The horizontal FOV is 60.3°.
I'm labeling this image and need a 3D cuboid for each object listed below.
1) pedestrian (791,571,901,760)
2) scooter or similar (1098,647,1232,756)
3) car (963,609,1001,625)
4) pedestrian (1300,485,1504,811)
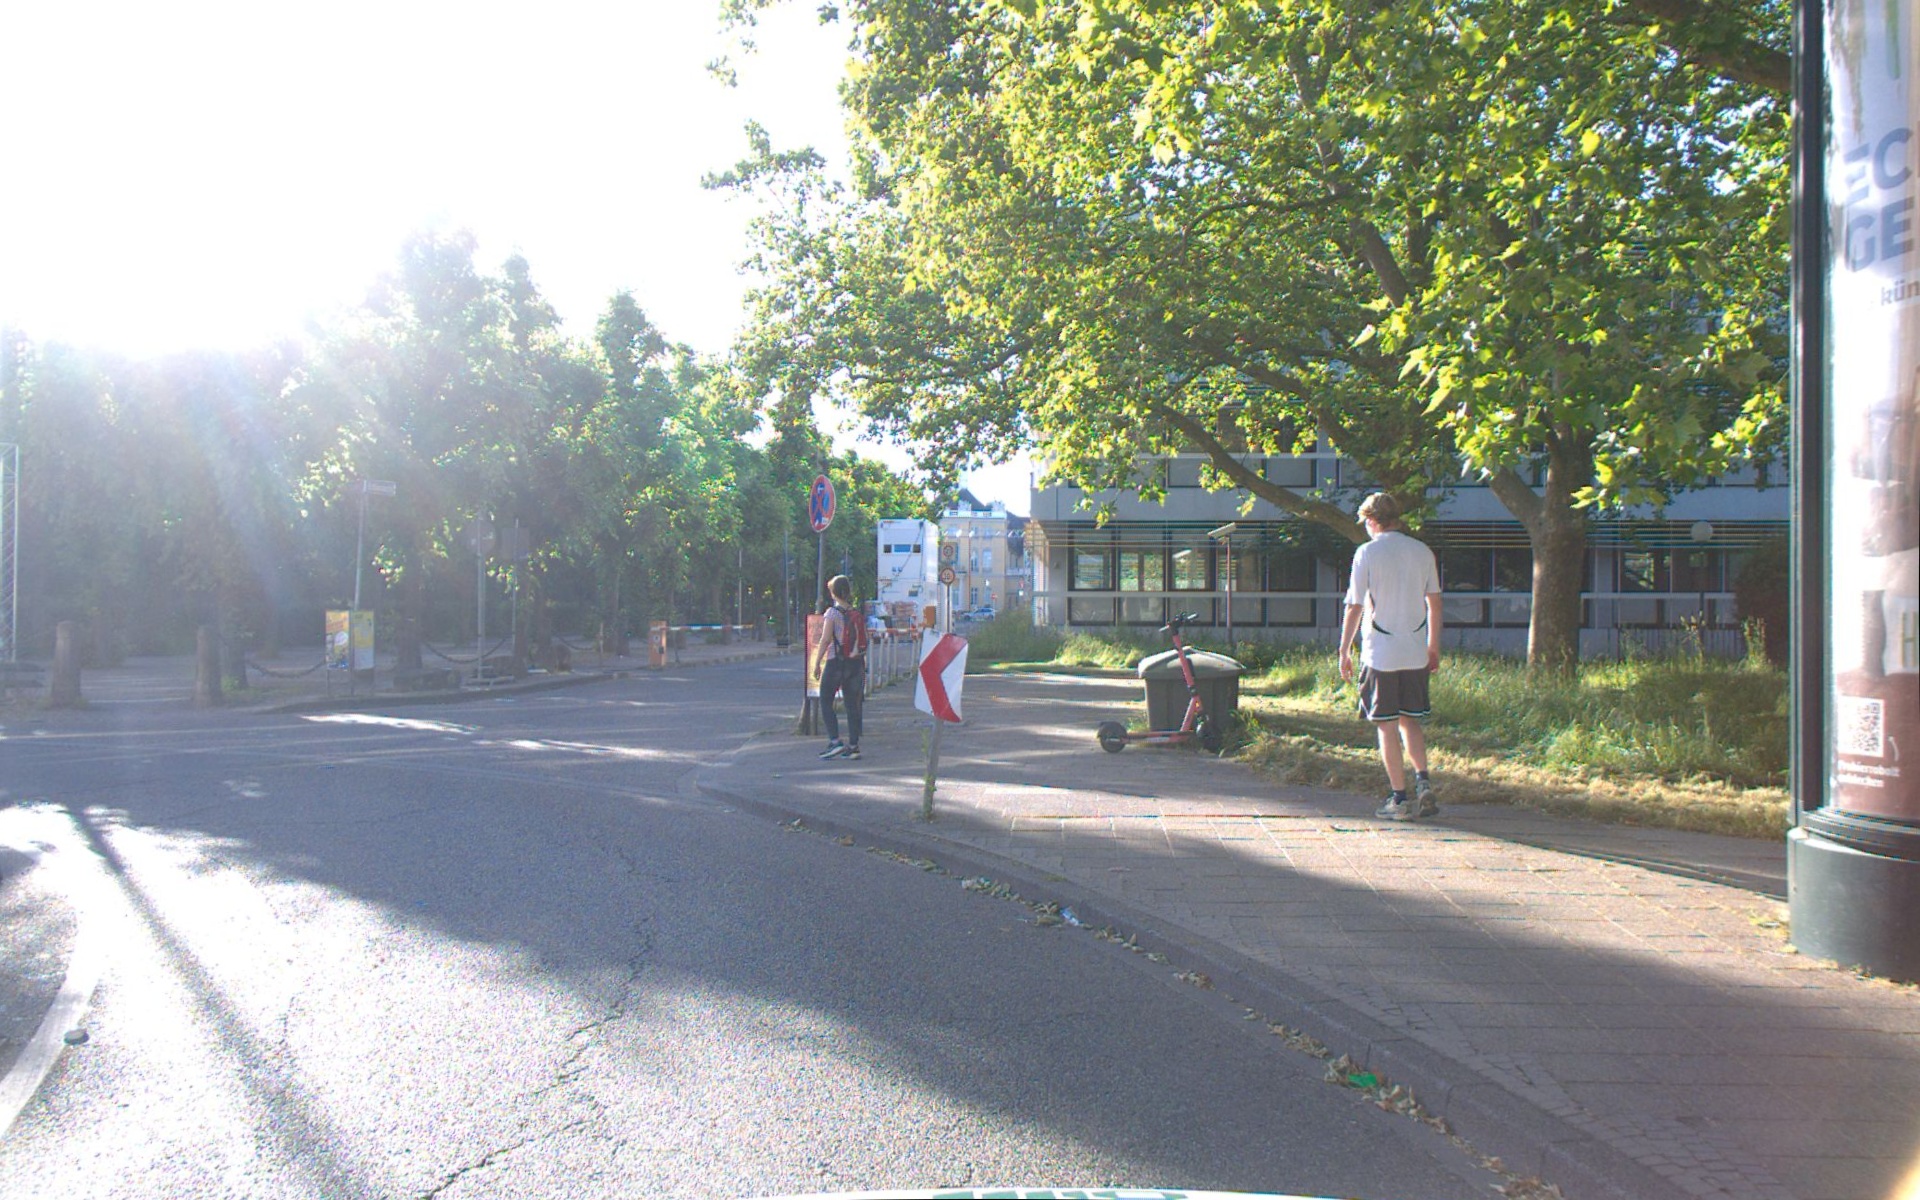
[{"bbox_3d":[-1.047,0.579,15.062,0.700,1.652,0.931,1,-1,-27],"label":"pedestrian"},{"bbox_3d":[1.841,0.908,14.918,1.124,0.930,0.419,-1,-2,-4],"label":"scooter or similar"},{"bbox_3d":[2.709,2.081,202.111,4.462,1.822,2.001,1,0,3],"label":"car"},{"bbox_3d":[2.645,0.280,9.999,0.731,1.844,1.130,2,0,-11],"label":"pedestrian"}]
